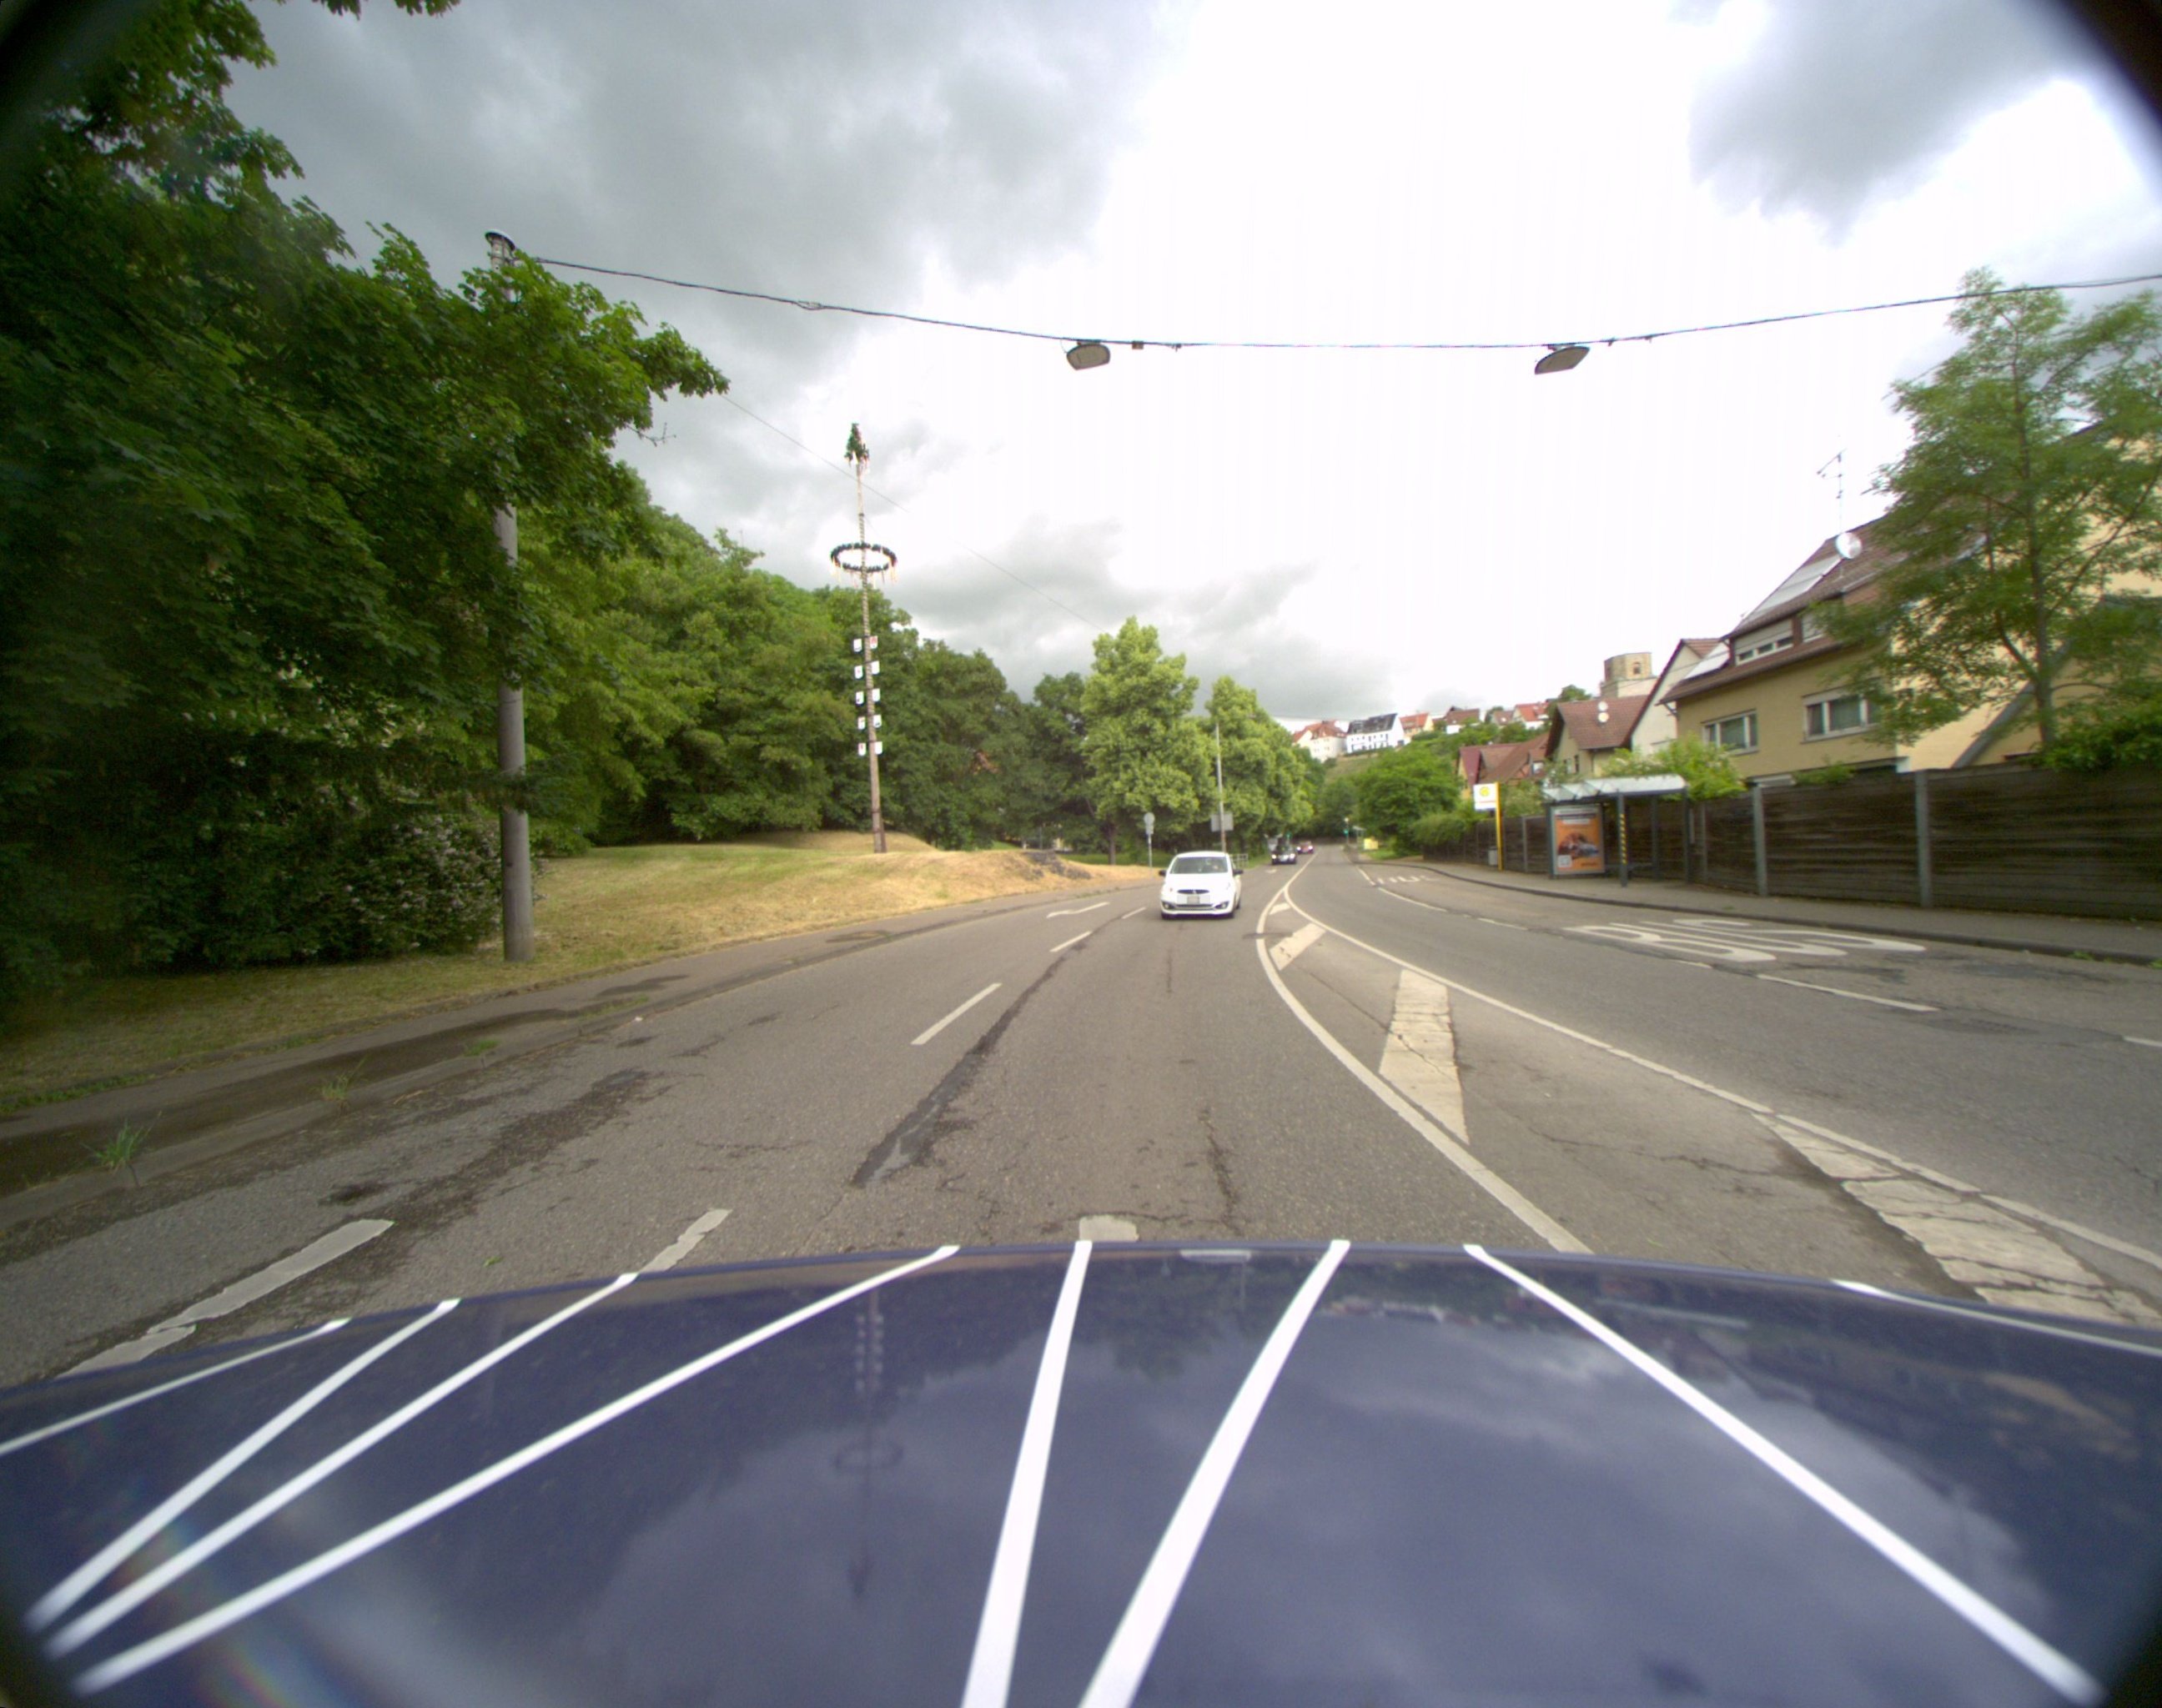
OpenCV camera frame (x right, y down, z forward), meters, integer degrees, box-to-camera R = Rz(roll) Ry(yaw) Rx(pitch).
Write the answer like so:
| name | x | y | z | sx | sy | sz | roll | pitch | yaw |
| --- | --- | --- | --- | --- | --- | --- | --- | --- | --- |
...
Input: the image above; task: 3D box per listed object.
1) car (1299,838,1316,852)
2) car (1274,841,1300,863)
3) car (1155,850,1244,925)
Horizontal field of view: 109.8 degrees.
| name | x | y | z | sx | sy | sz | roll | pitch | yaw |
| --- | --- | --- | --- | --- | --- | --- | --- | --- | --- |
| car | 29.060 | -1.139 | 97.426 | 1.826 | 1.662 | 4.063 | -2 | 1 | 18 |
| car | 15.902 | -0.187 | 58.578 | 1.722 | 1.539 | 3.786 | -2 | 1 | 17 |
| car | 2.867 | 0.711 | 17.868 | 1.617 | 1.505 | 3.608 | -2 | 1 | 15 |
